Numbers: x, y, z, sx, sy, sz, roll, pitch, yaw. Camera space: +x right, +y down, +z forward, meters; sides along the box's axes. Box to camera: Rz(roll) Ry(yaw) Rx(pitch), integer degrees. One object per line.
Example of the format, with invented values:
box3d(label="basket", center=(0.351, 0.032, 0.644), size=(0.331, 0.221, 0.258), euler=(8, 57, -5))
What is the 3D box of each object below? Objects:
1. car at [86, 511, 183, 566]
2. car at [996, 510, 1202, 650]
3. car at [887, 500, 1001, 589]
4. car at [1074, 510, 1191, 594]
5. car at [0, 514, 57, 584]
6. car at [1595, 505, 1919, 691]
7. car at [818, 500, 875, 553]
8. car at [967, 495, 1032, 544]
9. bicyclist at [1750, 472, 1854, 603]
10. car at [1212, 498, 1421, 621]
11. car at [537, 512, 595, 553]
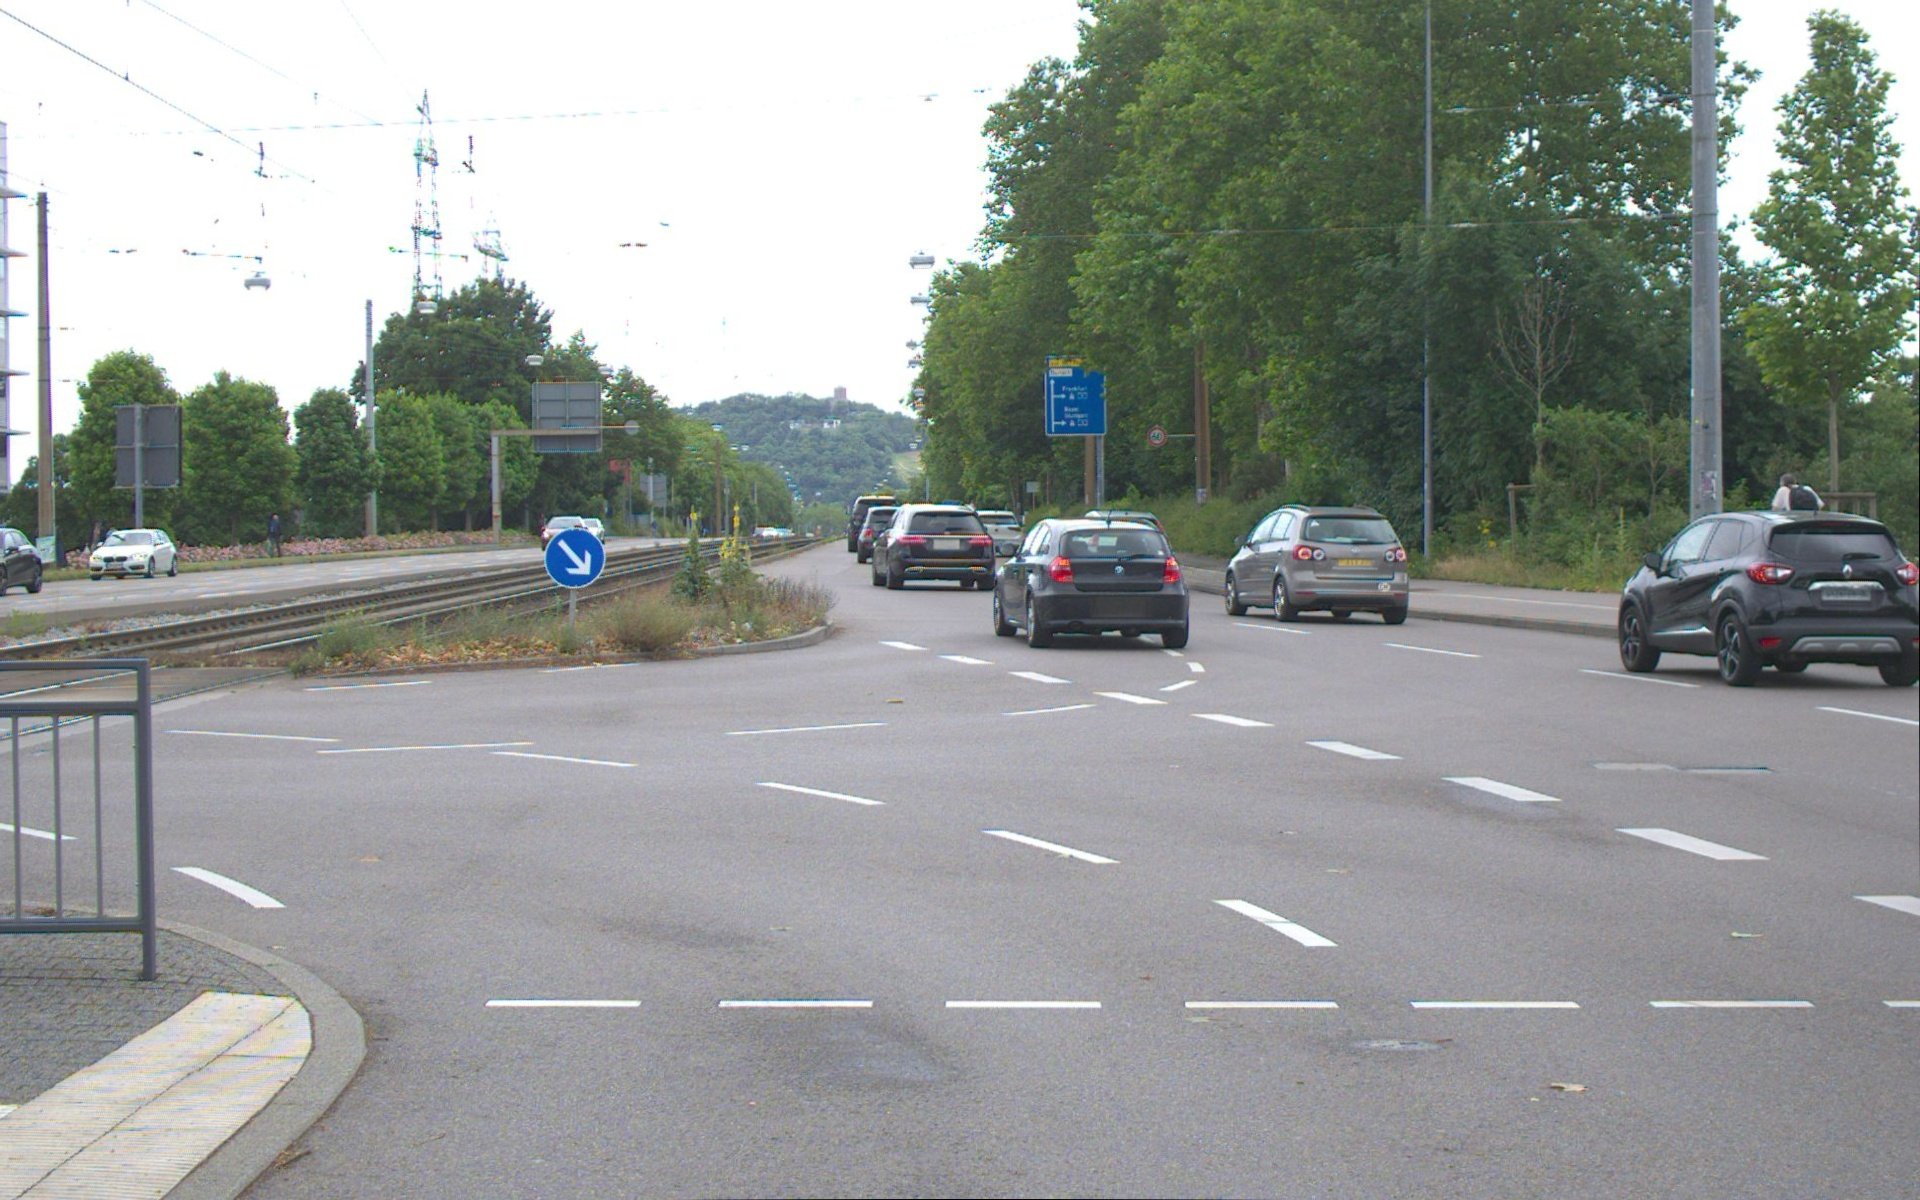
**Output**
box3d(label="car", center=(-23.909, -1.794, 99.707), size=(1.728, 1.533, 4.046), euler=(1, 1, 1))
box3d(label="car", center=(1.493, -0.249, 38.107), size=(1.746, 1.426, 3.376), euler=(1, 2, -7))
box3d(label="car", center=(-0.308, -0.958, 59.820), size=(1.815, 1.475, 3.672), euler=(1, 1, -2))
box3d(label="car", center=(3.156, -0.883, 63.511), size=(1.815, 1.475, 3.672), euler=(1, 1, -2))
box3d(label="car", center=(-20.984, -1.112, 73.518), size=(1.832, 1.459, 4.207), euler=(1, 1, 7))
box3d(label="car", center=(7.455, -0.050, 31.985), size=(1.856, 1.556, 4.318), euler=(2, 1, -6))
box3d(label="car", center=(-3.746, -2.411, 113.108), size=(1.815, 1.689, 4.000), euler=(1, 1, -3))
box3d(label="car", center=(1.210, -2.495, 107.375), size=(1.815, 1.475, 3.672), euler=(1, 1, -2))
box3d(label="bicyclist", center=(9.839, -0.740, 40.183), size=(0.816, 1.473, 1.000), euler=(-2, 3, -11))
box3d(label="car", center=(4.853, -0.576, 47.421), size=(1.856, 1.556, 4.318), euler=(2, 1, -8))
box3d(label="car", center=(-16.997, -2.925, 148.364), size=(1.993, 1.722, 4.000), euler=(1, 1, 0))
